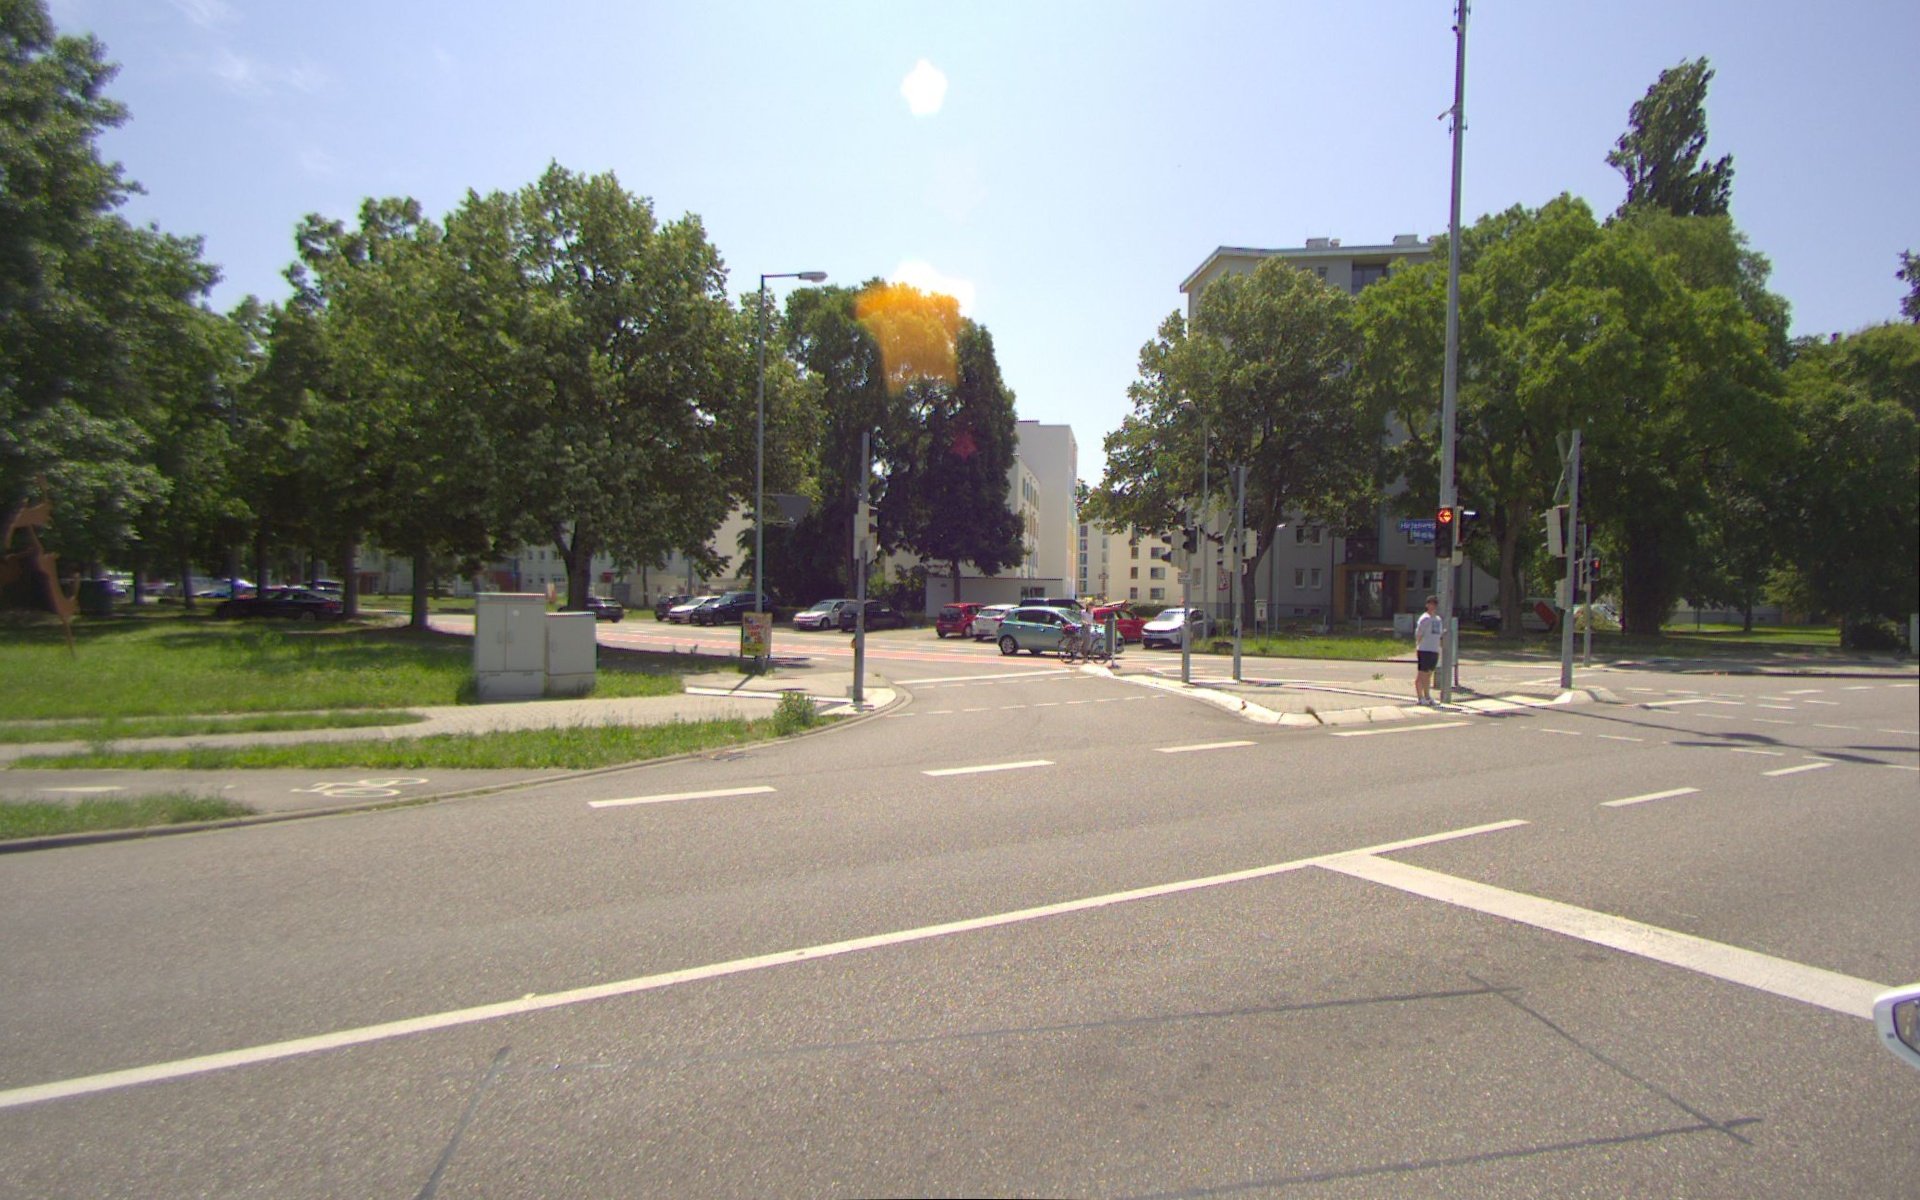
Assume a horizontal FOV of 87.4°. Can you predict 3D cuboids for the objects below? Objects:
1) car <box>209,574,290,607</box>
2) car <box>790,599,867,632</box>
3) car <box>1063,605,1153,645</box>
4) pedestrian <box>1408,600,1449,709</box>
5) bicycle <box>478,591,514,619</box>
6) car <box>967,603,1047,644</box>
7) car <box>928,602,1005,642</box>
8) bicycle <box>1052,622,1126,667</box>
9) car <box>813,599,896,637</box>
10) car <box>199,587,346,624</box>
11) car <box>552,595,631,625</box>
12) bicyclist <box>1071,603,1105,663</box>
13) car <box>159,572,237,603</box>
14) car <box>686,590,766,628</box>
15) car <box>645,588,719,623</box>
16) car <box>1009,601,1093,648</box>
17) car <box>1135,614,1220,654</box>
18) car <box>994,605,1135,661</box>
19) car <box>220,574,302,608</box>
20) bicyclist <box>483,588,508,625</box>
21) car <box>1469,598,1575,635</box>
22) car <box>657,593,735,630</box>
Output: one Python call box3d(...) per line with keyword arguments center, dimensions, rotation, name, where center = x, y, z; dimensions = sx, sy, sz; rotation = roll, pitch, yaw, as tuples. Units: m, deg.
box3d(center=(-46.904, -0.627, 66.364), dimensions=(1.970, 2.041, 3.981), rotation=(5, 3, 40), name="car")
box3d(center=(-6.620, 0.784, 50.974), dimensions=(1.667, 1.583, 3.822), rotation=(1, 0, 38), name="car")
box3d(center=(6.019, 0.977, 40.596), dimensions=(1.600, 1.483, 3.976), rotation=(3, 2, 44), name="car")
box3d(center=(7.462, 0.853, 15.995), dimensions=(0.481, 1.710, 0.380), rotation=(0, 1, -34), name="pedestrian")
box3d(center=(-22.210, 0.241, 48.065), dimensions=(2.030, 1.317, 0.770), rotation=(1, 1, 40), name="bicycle")
box3d(center=(2.098, 0.983, 43.863), dimensions=(1.681, 1.613, 3.989), rotation=(2, 1, 33), name="car")
box3d(center=(0.345, 0.979, 45.817), dimensions=(1.819, 1.690, 3.993), rotation=(1, 0, 30), name="car")
box3d(center=(3.395, 1.161, 26.536), dimensions=(1.840, 1.108, 0.643), rotation=(1, 1, 38), name="bicycle")
box3d(center=(-5.108, 0.858, 49.096), dimensions=(1.823, 1.734, 3.984), rotation=(1, 0, 37), name="car")
box3d(center=(-27.966, 0.213, 41.001), dimensions=(4.504, 1.487, 1.995), rotation=(0, 0, -13), name="car")
box3d(center=(-20.550, 0.546, 55.918), dimensions=(4.553, 1.519, 1.906), rotation=(1, 0, 35), name="car")
box3d(center=(3.382, 0.863, 26.544), dimensions=(0.655, 1.557, 0.628), rotation=(1, 1, 38), name="bicyclist")
box3d(center=(-53.427, -0.877, 70.473), dimensions=(1.970, 2.041, 3.981), rotation=(5, 3, 40), name="car")
box3d(center=(-12.728, 0.482, 54.861), dimensions=(1.823, 1.974, 3.984), rotation=(3, 1, 37), name="car")
box3d(center=(-16.397, 0.301, 59.350), dimensions=(1.821, 1.974, 3.987), rotation=(2, 1, 35), name="car")
box3d(center=(3.895, 1.002, 42.556), dimensions=(1.683, 1.825, 3.984), rotation=(3, 1, 37), name="car")
box3d(center=(8.474, 1.277, 38.941), dimensions=(1.604, 1.399, 3.983), rotation=(3, 1, 38), name="car")
box3d(center=(3.092, 0.945, 29.991), dimensions=(3.834, 1.488, 1.769), rotation=(1, 0, 36), name="car")
box3d(center=(-44.976, -0.571, 64.695), dimensions=(1.970, 2.041, 3.981), rotation=(5, 3, 40), name="car")
box3d(center=(-22.217, 0.310, 48.078), dimensions=(0.884, 1.715, 0.770), rotation=(1, 1, 41), name="bicyclist")
box3d(center=(29.359, 0.826, 52.570), dimensions=(4.456, 1.791, 1.793), rotation=(1, 0, 10), name="car")
box3d(center=(-14.875, 0.619, 56.763), dimensions=(1.823, 1.974, 3.984), rotation=(3, 1, 37), name="car")
